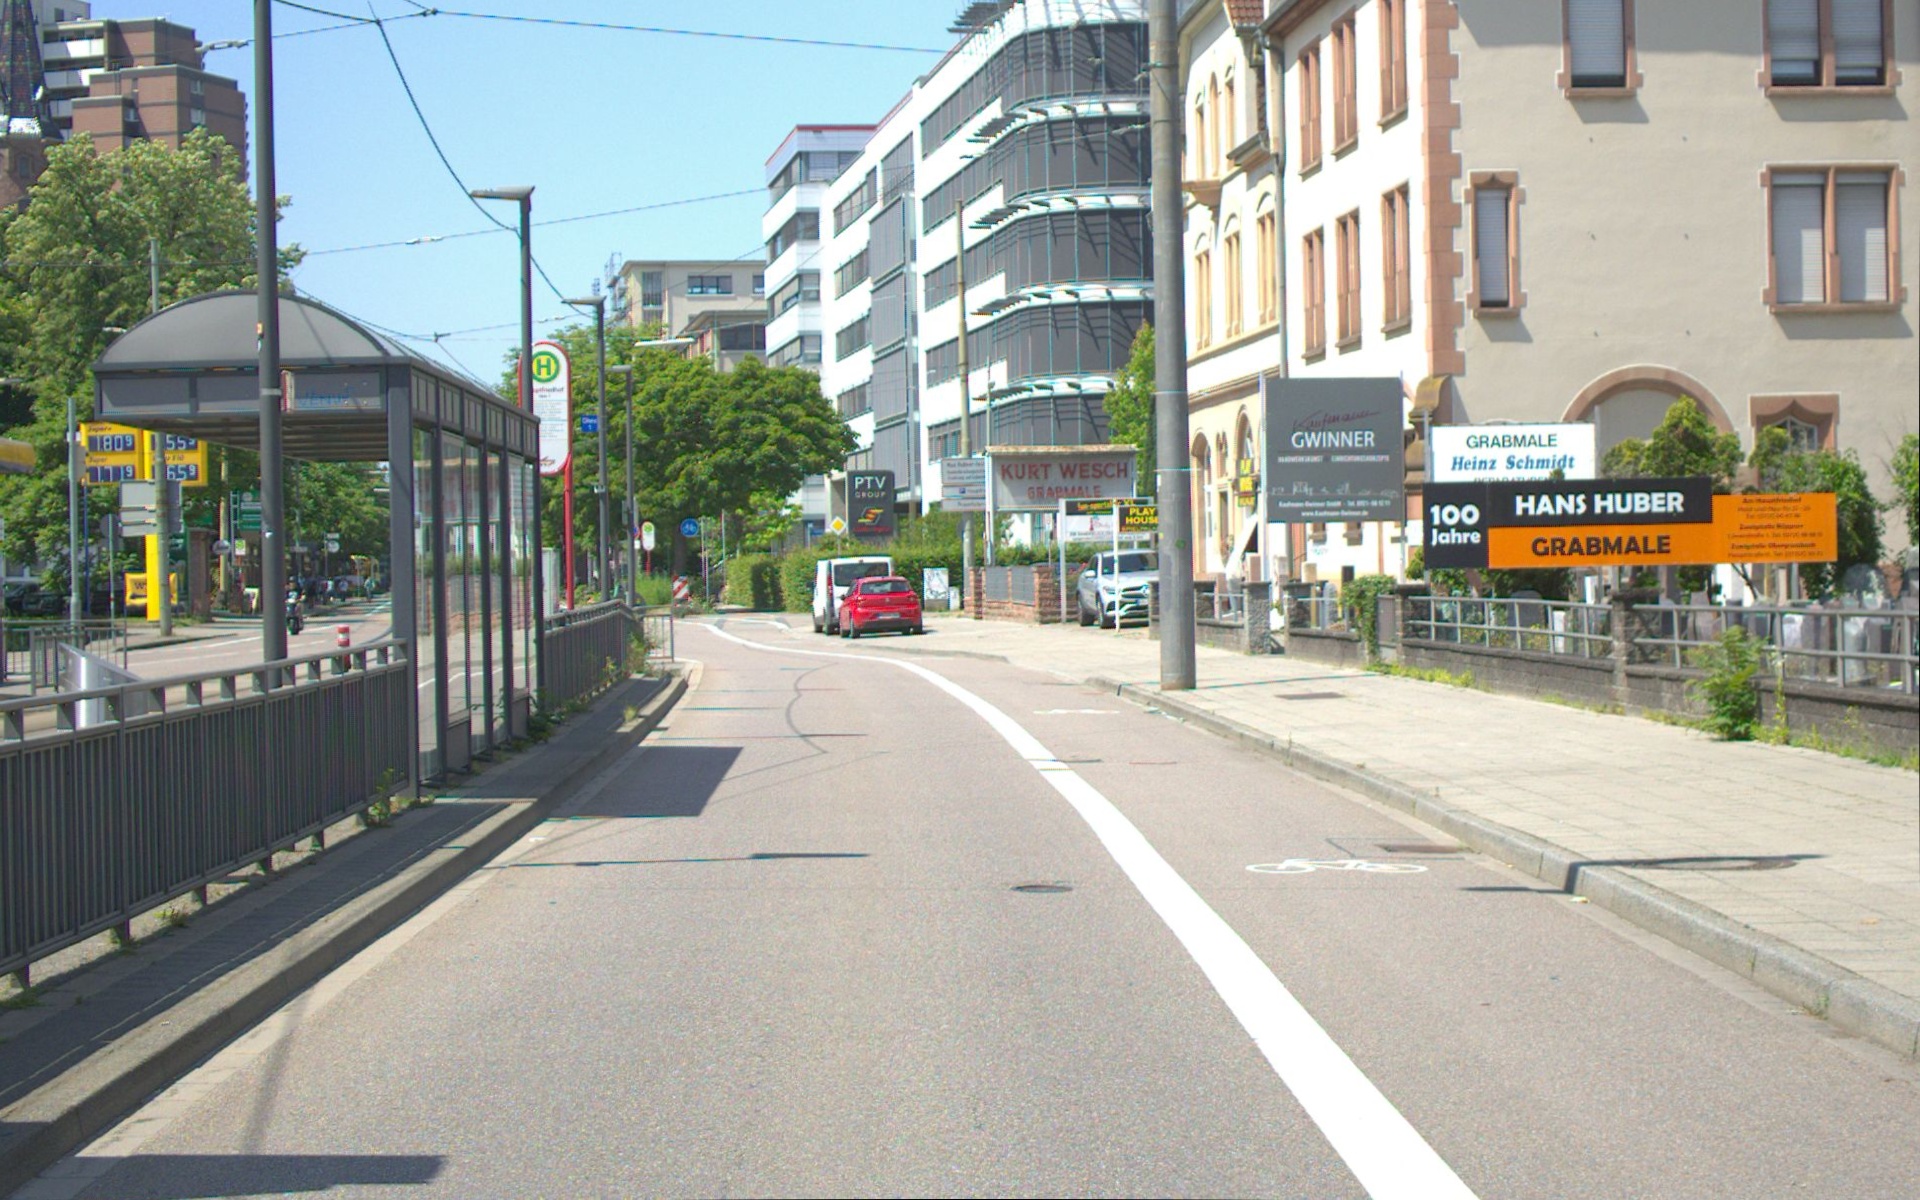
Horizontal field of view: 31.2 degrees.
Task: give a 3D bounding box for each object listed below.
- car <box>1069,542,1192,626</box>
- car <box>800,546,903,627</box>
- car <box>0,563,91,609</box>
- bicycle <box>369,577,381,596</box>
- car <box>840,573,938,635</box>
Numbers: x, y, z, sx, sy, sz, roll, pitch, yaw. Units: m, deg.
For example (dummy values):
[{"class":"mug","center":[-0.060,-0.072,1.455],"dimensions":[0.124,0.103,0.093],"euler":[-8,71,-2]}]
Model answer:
[{"class":"car","center":[3.619,-0.353,73.756],"dimensions":[1.878,1.619,4.640],"euler":[-4,1,-6]},{"class":"car","center":[-2.882,-0.372,90.153],"dimensions":[1.993,1.985,5.516],"euler":[-3,1,-8]},{"class":"car","center":[-33.260,-0.492,122.191],"dimensions":[1.997,1.584,4.324],"euler":[-1,1,36]},{"class":"bicycle","center":[-38.354,-0.873,225.395],"dimensions":[0.701,1.200,2.241],"euler":[-3,1,-9]},{"class":"car","center":[-1.742,0.081,83.434],"dimensions":[1.993,1.437,4.017],"euler":[-1,1,-7]}]
